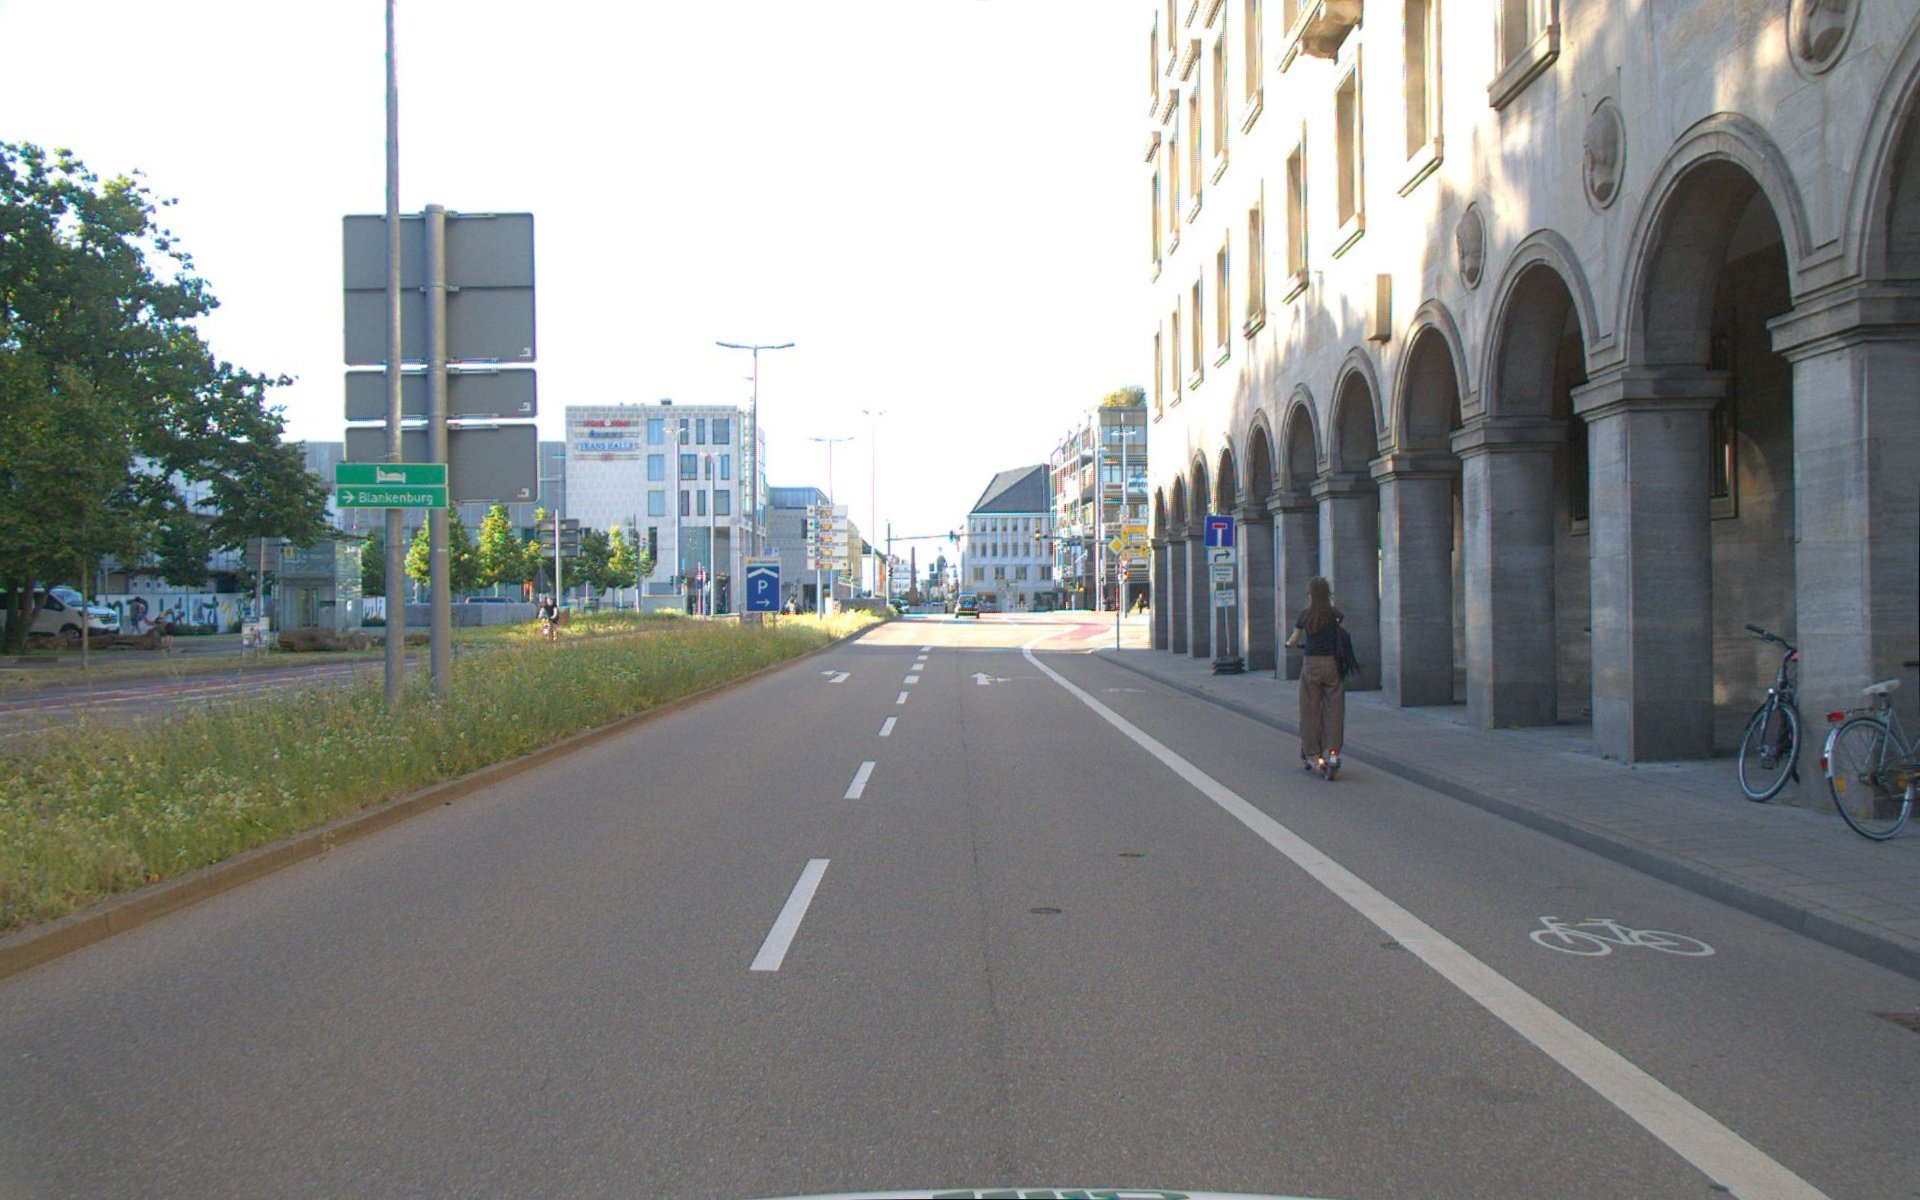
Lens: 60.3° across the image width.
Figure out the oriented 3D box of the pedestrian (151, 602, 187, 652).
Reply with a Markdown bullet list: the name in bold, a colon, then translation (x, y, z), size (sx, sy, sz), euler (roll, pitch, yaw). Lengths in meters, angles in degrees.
- **pedestrian**: translation (-24.989, 0.858, 52.244), size (0.600, 1.554, 0.943), euler (-1, 0, 5)

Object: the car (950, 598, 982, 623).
- **car**: translation (0.366, 0.682, 108.217), size (1.741, 1.591, 3.784), euler (0, 0, -6)

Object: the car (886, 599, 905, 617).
- **car**: translation (-6.951, 0.876, 178.428), size (1.953, 1.773, 4.646), euler (0, 1, 0)

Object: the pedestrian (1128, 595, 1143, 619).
- **pedestrian**: translation (13.326, 0.529, 125.421), size (0.805, 1.779, 1.041), euler (-2, -1, 22)

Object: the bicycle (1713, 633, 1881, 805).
- **bicycle**: translation (5.979, 0.809, 11.776), size (0.601, 1.069, 1.703), euler (-2, 0, 43)

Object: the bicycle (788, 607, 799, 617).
- **bicycle**: translation (-14.367, 1.040, 142.737), size (0.599, 0.877, 1.952), euler (0, 0, 5)

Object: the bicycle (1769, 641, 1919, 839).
- **bicycle**: translation (5.729, 0.792, 9.846), size (1.679, 1.069, 0.525), euler (-2, 0, -15)

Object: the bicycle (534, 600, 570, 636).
- **bicycle**: translation (-15.239, 0.676, 61.803), size (0.742, 1.297, 2.258), euler (-1, -2, 0)

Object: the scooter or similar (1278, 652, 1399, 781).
- **scooter or similar**: translation (3.332, 1.006, 14.634), size (0.547, 1.049, 1.111), euler (0, 0, -18)

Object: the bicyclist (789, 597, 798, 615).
- **bicyclist**: translation (-14.359, 0.519, 142.816), size (0.594, 1.515, 0.681), euler (0, 0, 5)

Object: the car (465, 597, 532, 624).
- **car**: translation (-33.859, 0.753, 121.433), size (4.552, 1.842, 1.869), euler (-1, -2, -8)

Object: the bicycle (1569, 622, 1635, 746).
- **bicycle**: translation (6.124, 0.778, 15.817), size (0.460, 1.069, 1.714), euler (-2, 0, 18)

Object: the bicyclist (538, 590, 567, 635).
- **bicyclist**: translation (-15.234, 0.466, 61.835), size (0.731, 1.618, 1.202), euler (-1, -2, 1)

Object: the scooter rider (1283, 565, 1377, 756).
- **scooter rider**: translation (3.296, 0.523, 14.763), size (0.553, 1.660, 0.646), euler (0, 0, -19)

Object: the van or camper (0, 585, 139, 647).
- **van or camper**: translation (-32.707, 0.601, 59.140), size (5.546, 2.049, 2.258), euler (-1, -2, 1)

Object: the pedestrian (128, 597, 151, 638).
- **pedestrian**: translation (-34.882, 0.723, 70.284), size (0.567, 1.718, 0.835), euler (-1, 0, -2)
